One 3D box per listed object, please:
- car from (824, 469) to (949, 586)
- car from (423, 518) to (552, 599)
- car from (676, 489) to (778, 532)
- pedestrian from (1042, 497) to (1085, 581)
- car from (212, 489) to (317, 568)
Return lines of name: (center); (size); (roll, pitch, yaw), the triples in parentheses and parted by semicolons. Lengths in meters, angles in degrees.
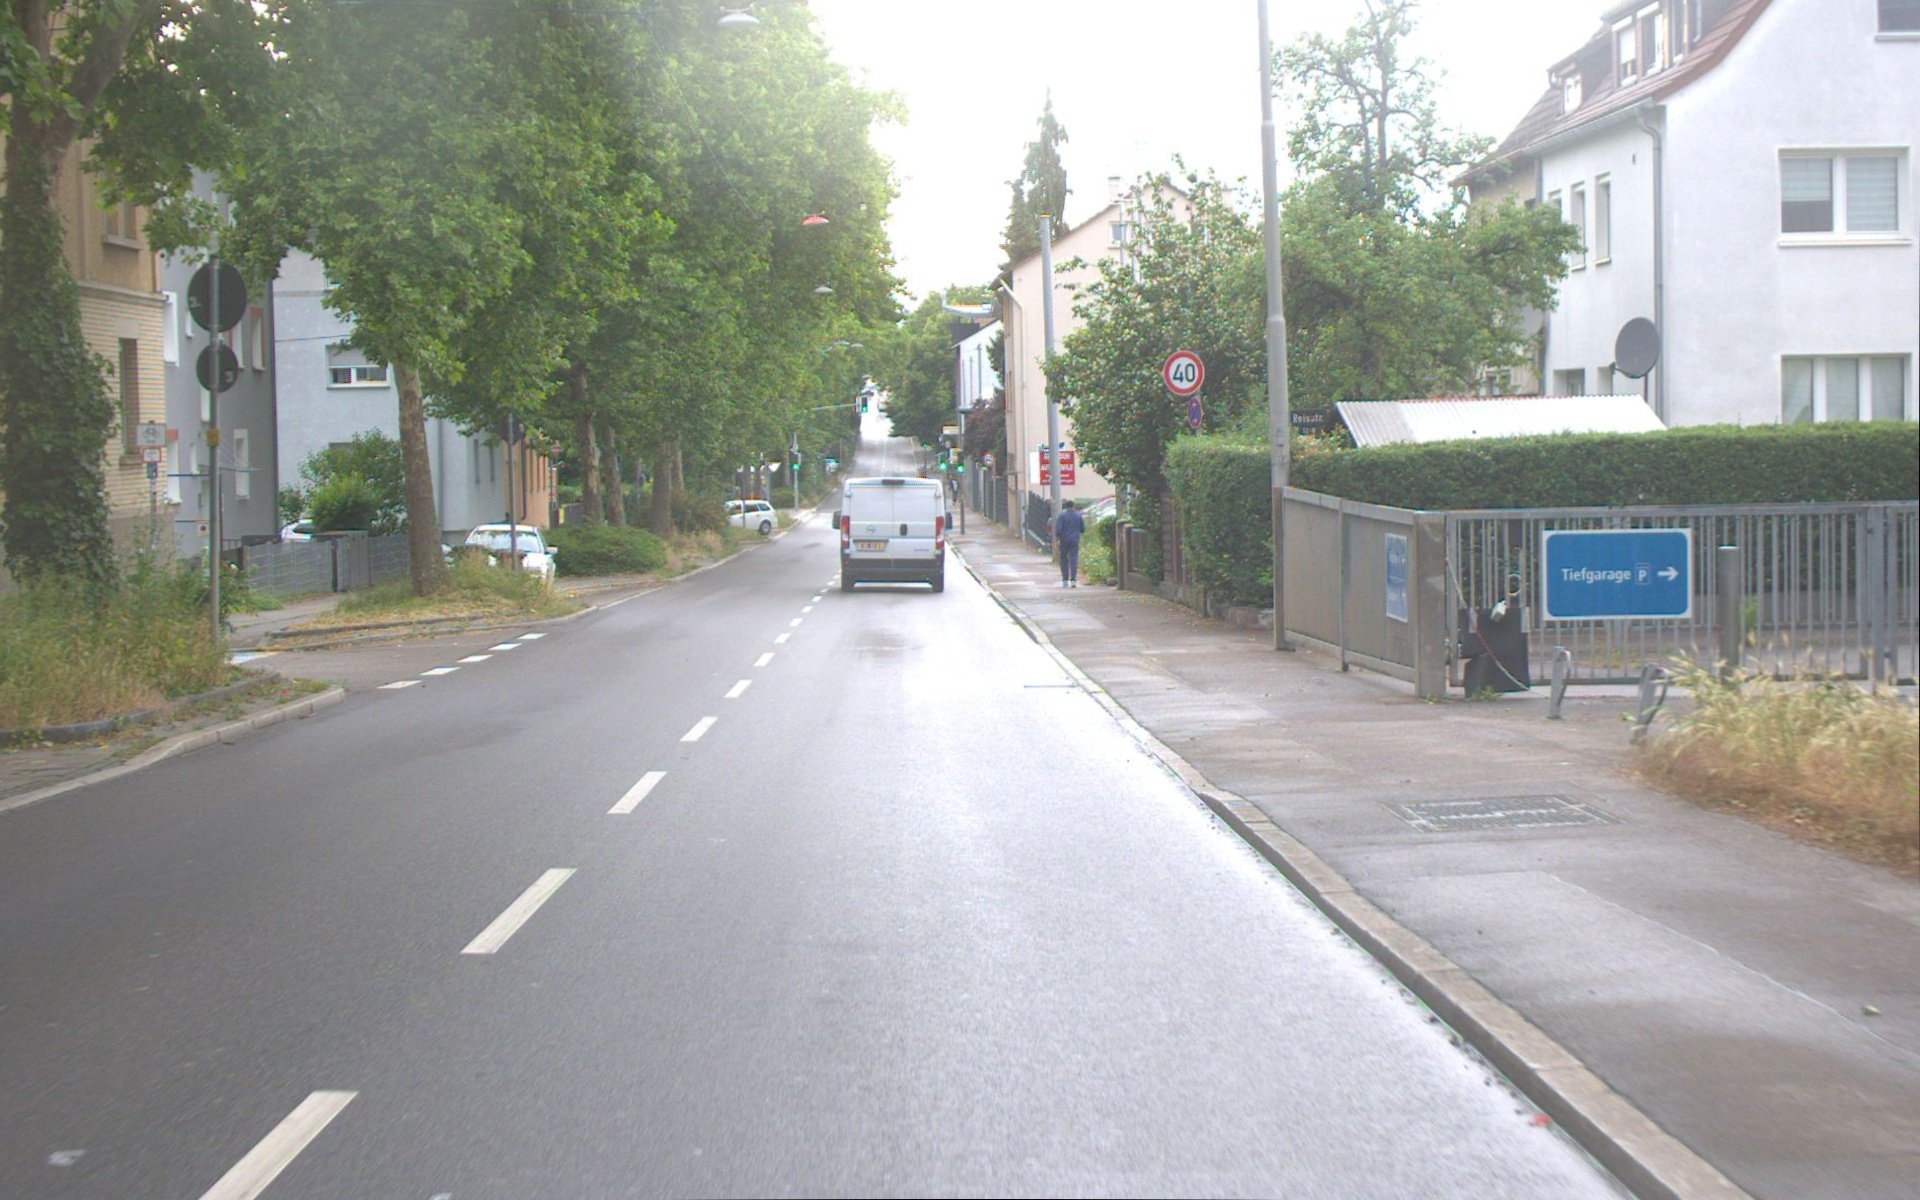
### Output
car: (-1.509, -1.494, 68.657); (2.346, 2.152, 4.778); (-1, 3, -2)
car: (-8.767, -0.794, 64.042); (1.993, 1.447, 4.211); (-1, 1, -3)
car: (-9.494, -3.633, 140.544); (1.997, 1.703, 4.252); (1, 1, 33)
pedestrian: (2.090, -1.234, 69.470); (0.815, 1.692, 0.729); (0, 1, -3)
car: (-17.376, -1.814, 86.037); (1.875, 1.888, 4.001); (-1, 2, -1)
